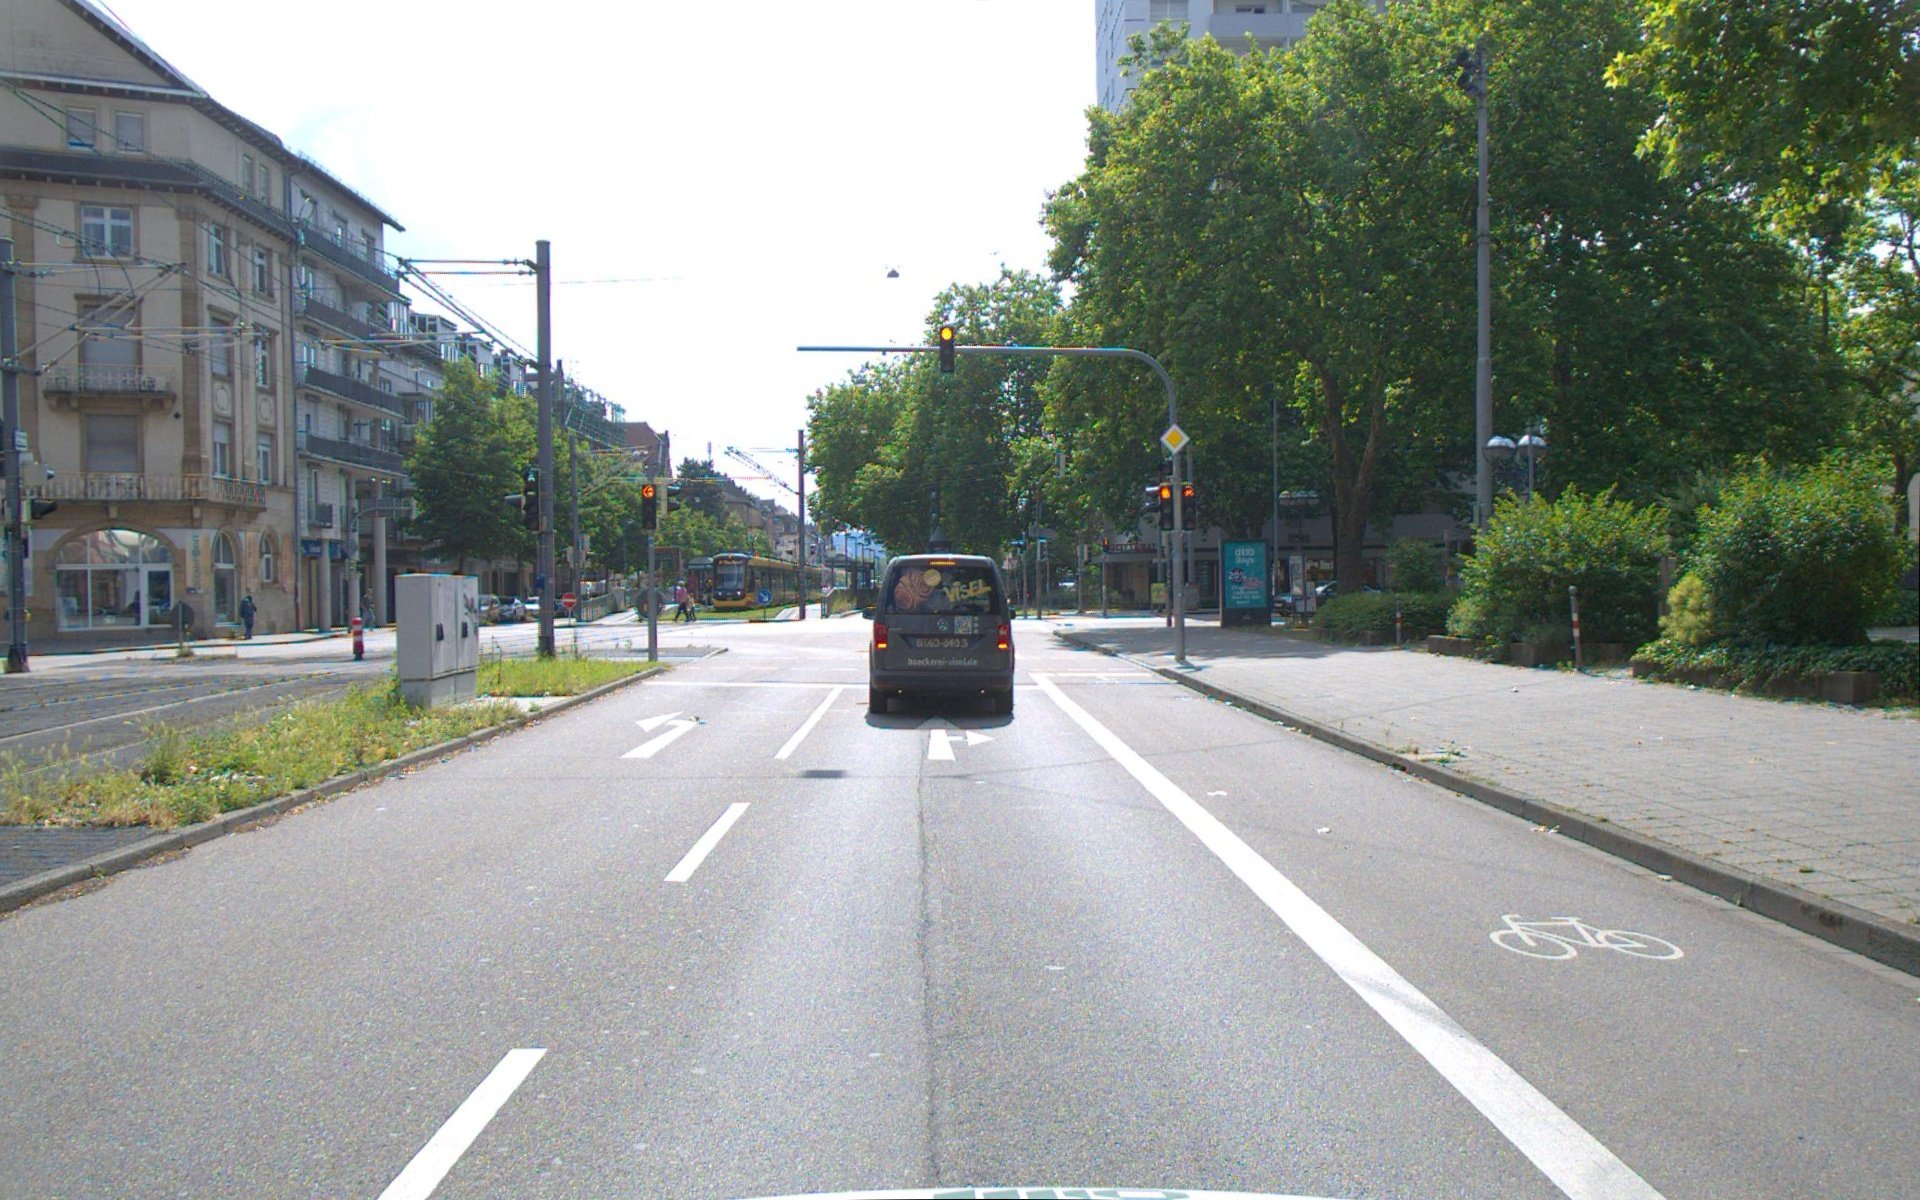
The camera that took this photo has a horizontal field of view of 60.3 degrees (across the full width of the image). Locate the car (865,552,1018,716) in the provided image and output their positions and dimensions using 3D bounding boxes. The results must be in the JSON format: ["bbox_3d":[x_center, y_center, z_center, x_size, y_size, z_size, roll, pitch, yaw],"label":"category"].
[{"bbox_3d":[-0.232,0.360,20.347,1.715,1.840,3.474,0,1,-1],"label":"car"}]

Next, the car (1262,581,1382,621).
[{"bbox_3d":[14.105,0.023,64.415,4.424,1.414,1.693,-2,1,-25],"label":"car"}]

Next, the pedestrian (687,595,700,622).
[{"bbox_3d":[-11.364,0.360,70.522,0.454,1.164,0.435,-1,0,-1],"label":"pedestrian"}]

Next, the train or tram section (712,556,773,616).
[{"bbox_3d":[-13.368,-0.884,102.669,2.195,3.389,12.969,-1,1,-1],"label":"train or tram section"}]

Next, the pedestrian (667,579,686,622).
[{"bbox_3d":[-12.030,0.023,70.147,0.646,1.815,0.660,-1,0,-1],"label":"pedestrian"}]

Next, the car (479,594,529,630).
[{"bbox_3d":[-27.649,0.698,100.352,1.953,2.049,3.999,-1,1,-1],"label":"car"}]

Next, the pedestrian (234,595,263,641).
[{"bbox_3d":[-25.587,0.635,59.510,0.678,1.623,0.861,-1,0,-5],"label":"pedestrian"}]

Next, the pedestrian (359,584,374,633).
[{"bbox_3d":[-25.341,0.359,70.634,0.468,2.049,0.419,-1,0,-6],"label":"pedestrian"}]

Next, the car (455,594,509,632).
[{"bbox_3d":[-27.591,0.741,95.610,1.953,2.049,3.999,-1,1,-1],"label":"car"}]

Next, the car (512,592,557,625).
[{"bbox_3d":[-27.992,0.523,108.852,1.953,2.049,3.999,-1,1,-1],"label":"car"}]

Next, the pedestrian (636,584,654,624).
[{"bbox_3d":[-13.725,0.154,72.018,0.646,1.714,0.655,-1,0,-1],"label":"pedestrian"}]
